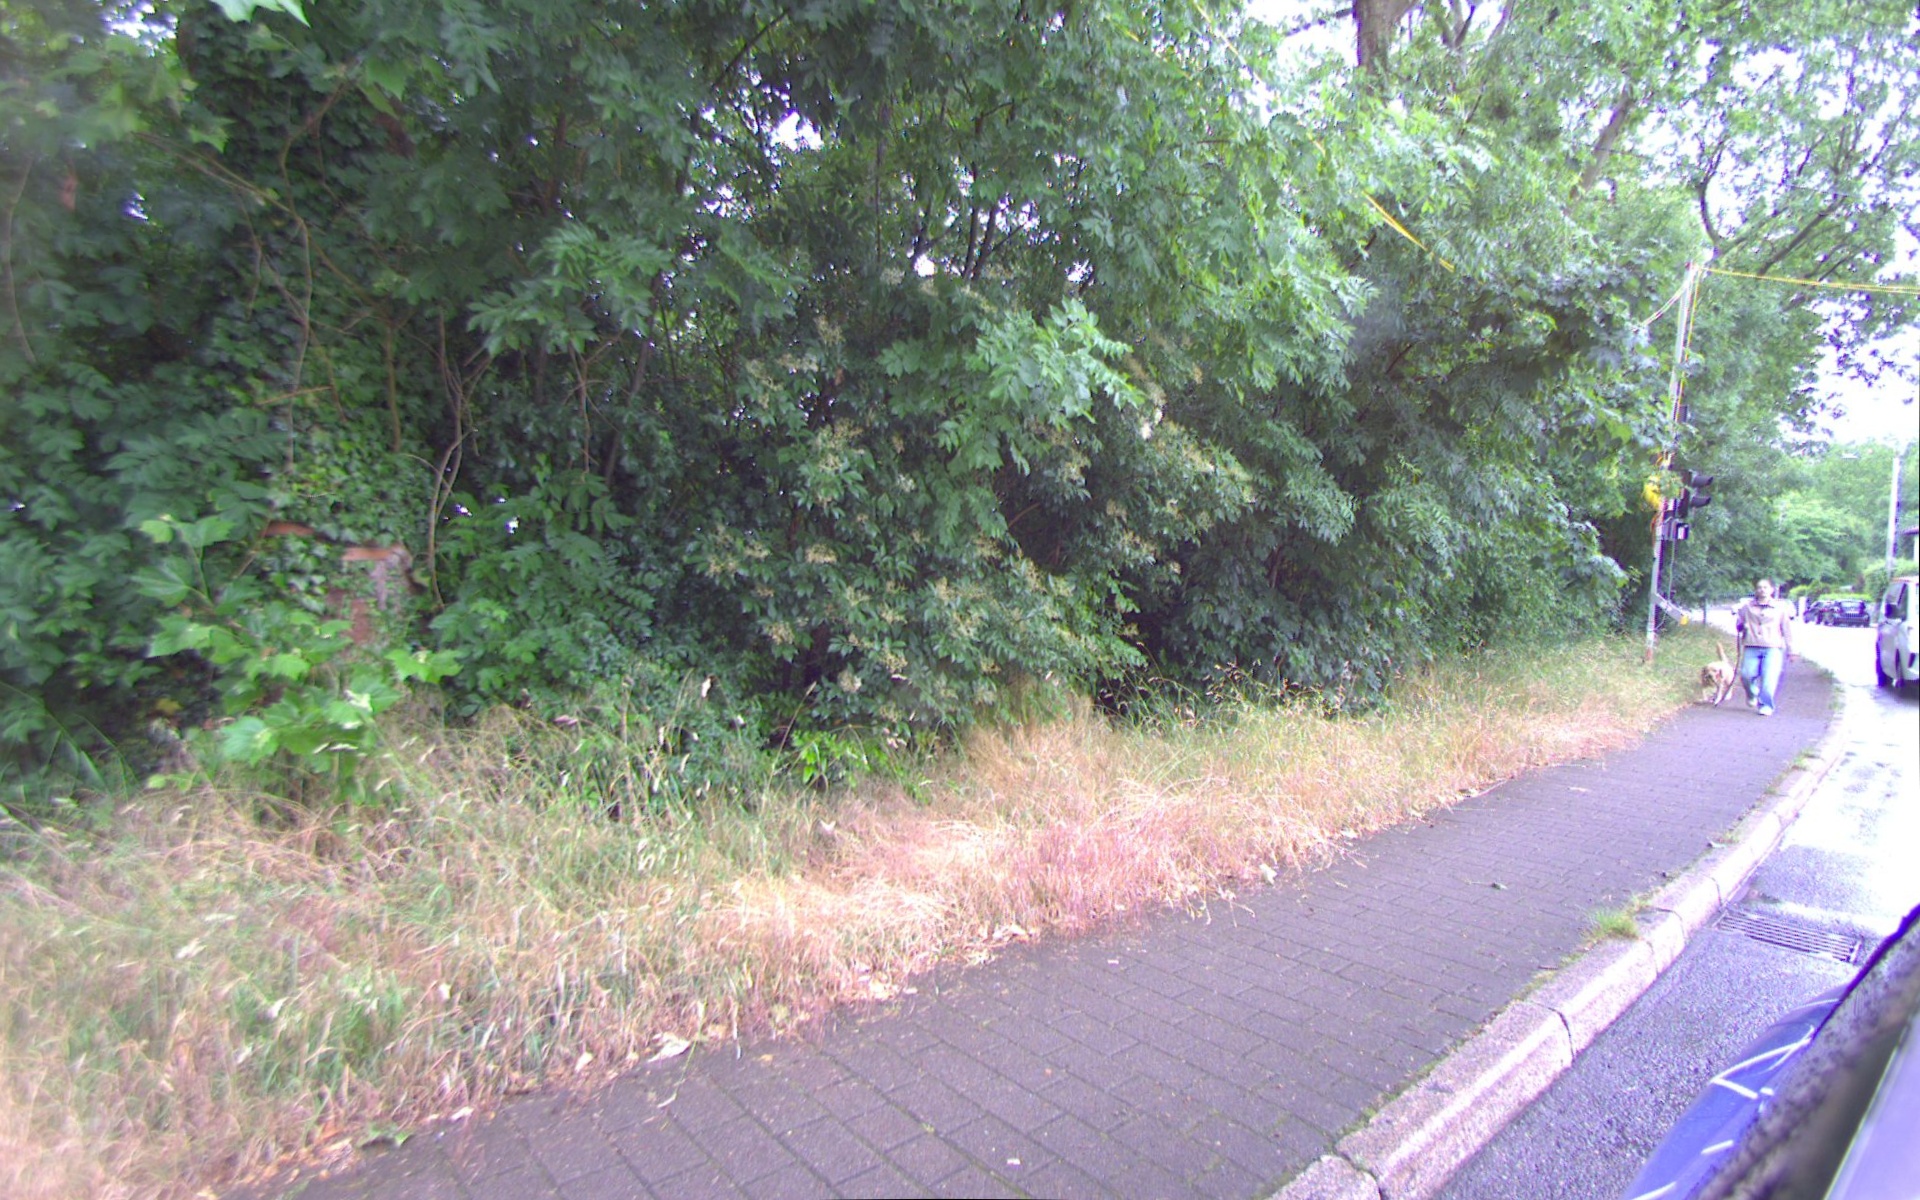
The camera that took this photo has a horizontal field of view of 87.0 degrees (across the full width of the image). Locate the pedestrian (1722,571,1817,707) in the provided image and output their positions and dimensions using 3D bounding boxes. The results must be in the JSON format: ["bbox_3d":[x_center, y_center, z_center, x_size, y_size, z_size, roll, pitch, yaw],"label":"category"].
[{"bbox_3d":[9.532,0.429,11.919,0.771,1.518,0.734,0,1,-42],"label":"pedestrian"}]

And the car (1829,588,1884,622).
[{"bbox_3d":[51.062,0.273,57.710,1.869,1.848,4.075,1,1,35],"label":"car"}]

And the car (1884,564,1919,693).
[{"bbox_3d":[16.745,0.426,16.587,2.093,1.943,5.017,1,0,39],"label":"car"}]

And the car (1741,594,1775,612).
[{"bbox_3d":[64.942,0.207,82.375,1.676,1.445,3.734,1,1,31],"label":"car"}]

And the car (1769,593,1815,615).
[{"bbox_3d":[60.749,0.286,73.922,2.055,1.504,4.509,1,1,33],"label":"car"}]
